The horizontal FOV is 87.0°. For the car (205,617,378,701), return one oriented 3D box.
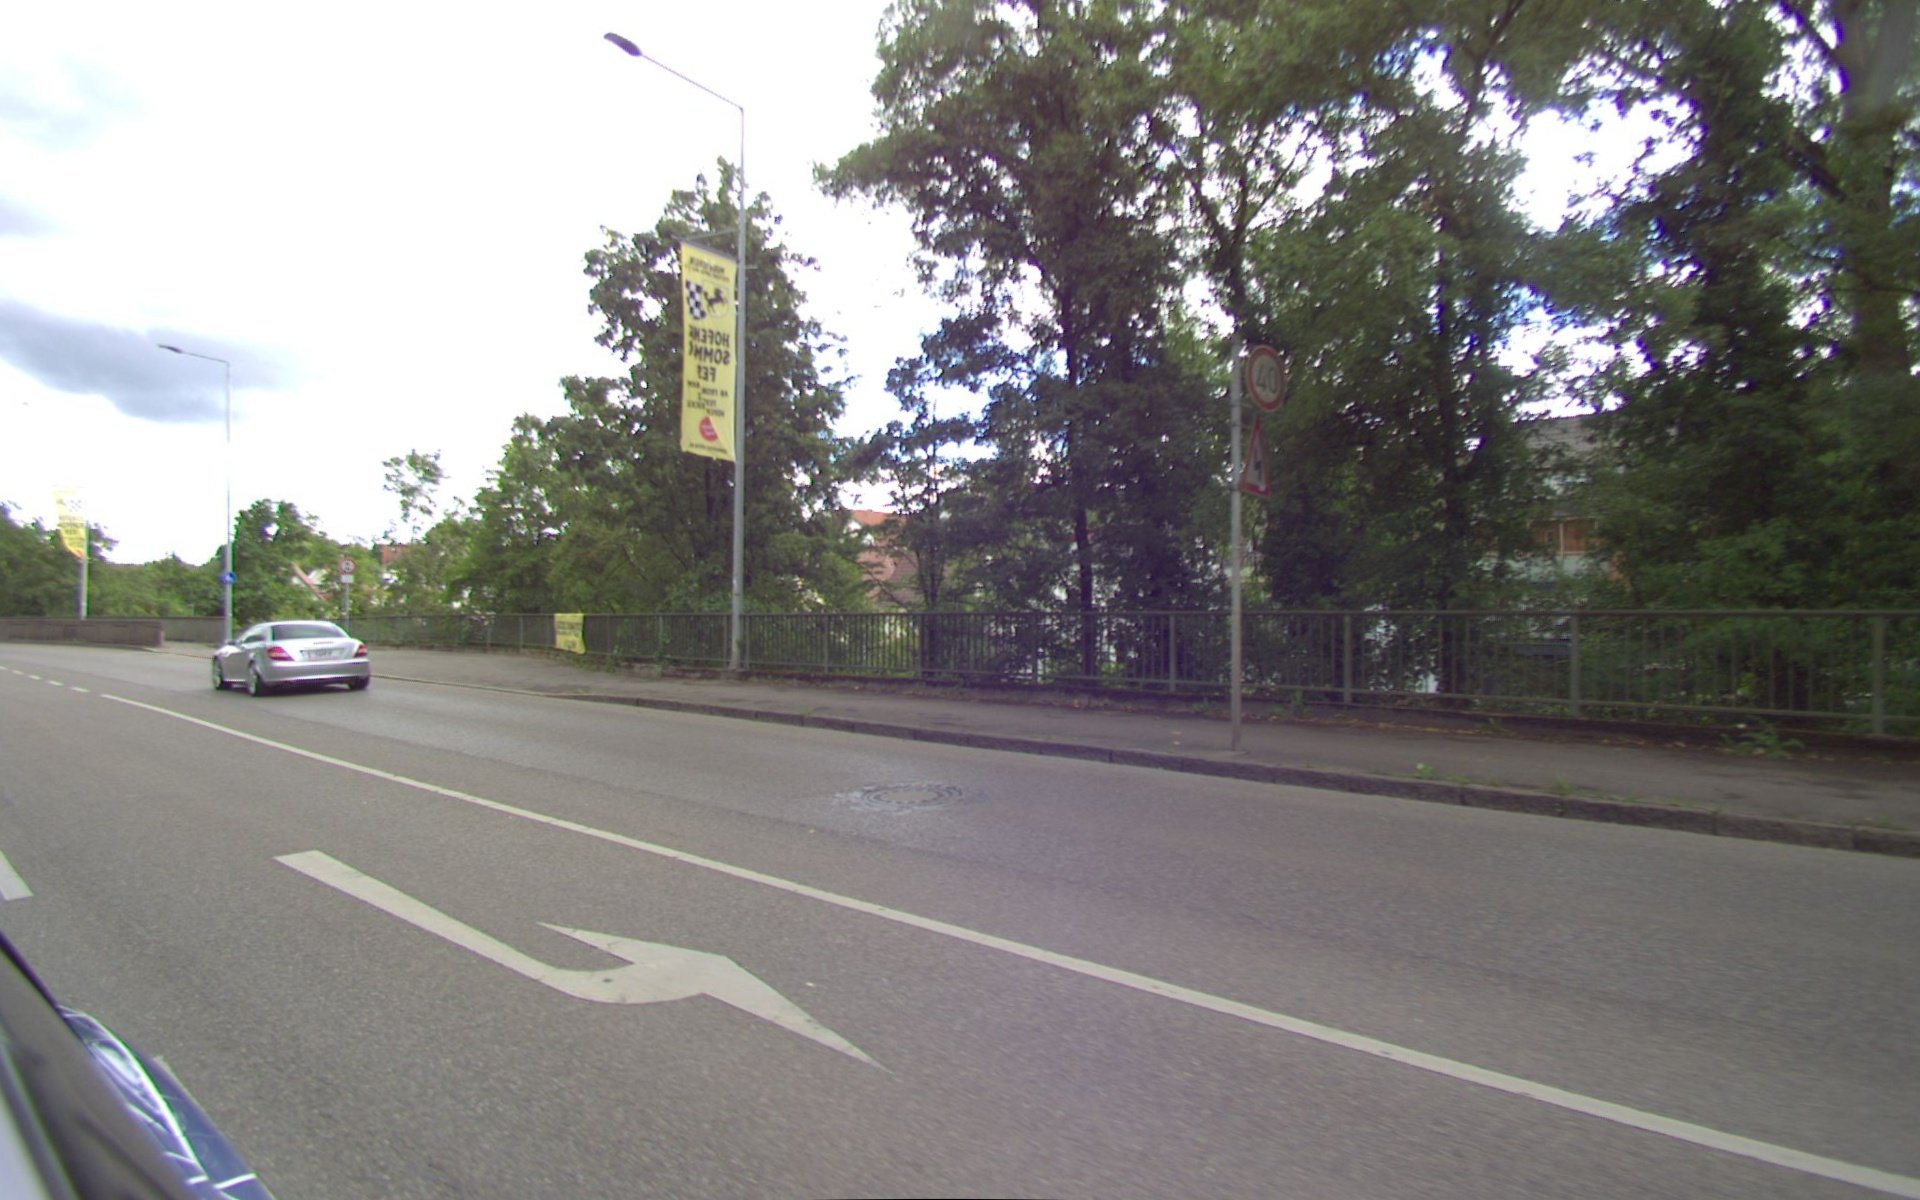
[{"bbox_3d":[-12.315,1.008,18.570,3.694,1.347,1.740,-1,0,42],"label":"car"}]
